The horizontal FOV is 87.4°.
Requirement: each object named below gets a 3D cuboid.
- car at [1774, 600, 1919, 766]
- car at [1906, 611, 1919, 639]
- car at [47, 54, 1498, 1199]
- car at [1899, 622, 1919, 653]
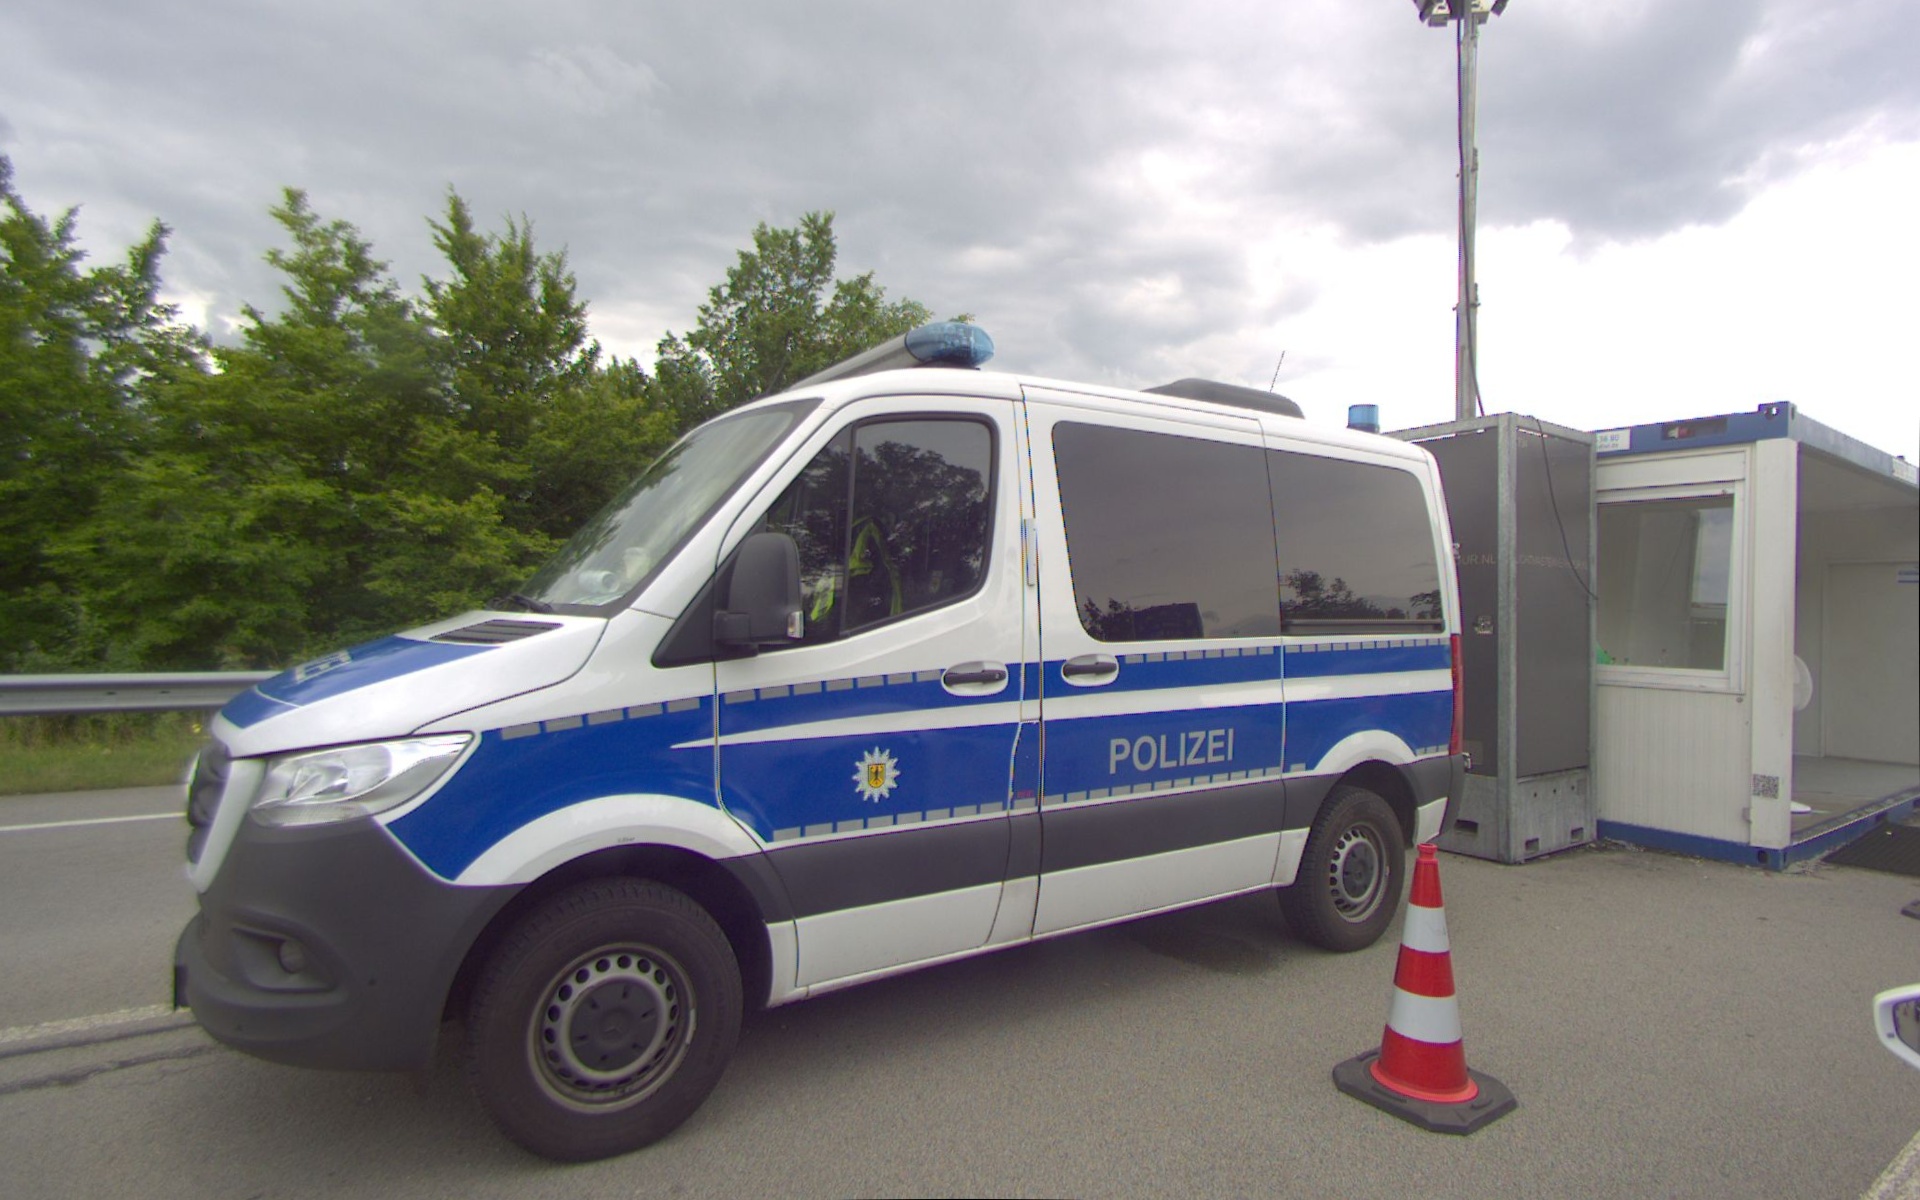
[{"bbox_3d":[11.717,0.928,12.136,3.967,1.767,1.857,1,0,-34],"label":"car"},{"bbox_3d":[79.881,2.093,83.468,1.836,2.252,4.231,1,0,44],"label":"car"},{"bbox_3d":[-0.132,0.238,4.258,5.224,2.496,2.017,1,0,-34],"label":"car"},{"bbox_3d":[48.328,1.869,50.209,4.229,1.518,1.837,2,0,-45],"label":"car"}]
